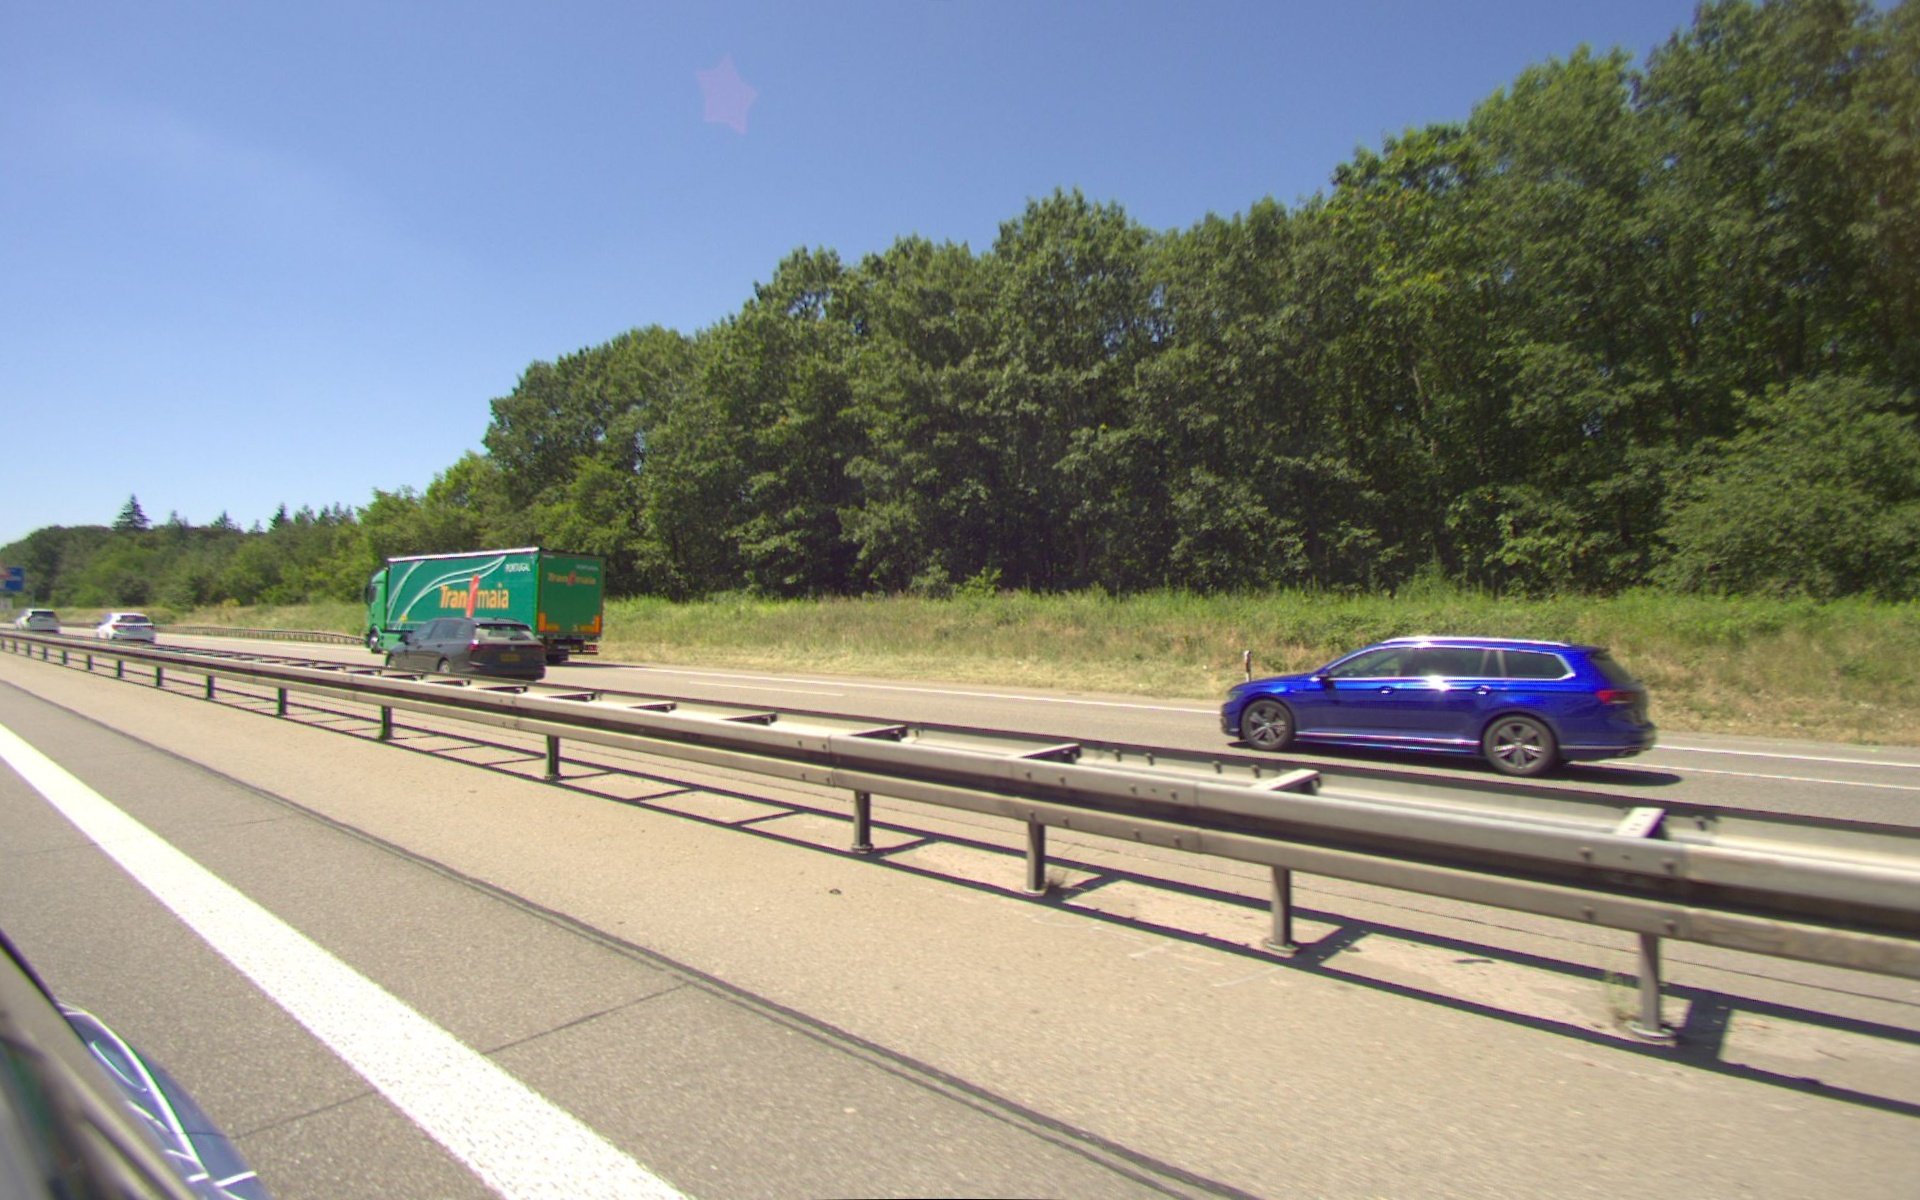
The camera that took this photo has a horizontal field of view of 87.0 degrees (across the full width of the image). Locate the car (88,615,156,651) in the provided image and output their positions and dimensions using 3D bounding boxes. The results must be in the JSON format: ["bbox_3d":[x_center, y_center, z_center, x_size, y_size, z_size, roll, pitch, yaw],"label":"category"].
[{"bbox_3d":[-37.985,1.476,45.831,4.598,1.512,1.638,-1,-4,42],"label":"car"}]

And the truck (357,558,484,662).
[{"bbox_3d":[-23.582,0.482,44.155,6.294,4.193,2.672,-1,-4,42],"label":"truck"}]

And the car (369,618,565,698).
[{"bbox_3d":[-10.047,1.118,20.426,5.081,1.421,1.691,-1,-4,42],"label":"car"}]

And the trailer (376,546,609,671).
[{"bbox_3d":[-18.875,0.423,39.945,14.332,4.193,2.676,-1,-4,42],"label":"trailer"}]

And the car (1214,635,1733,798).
[{"bbox_3d":[5.693,1.181,11.768,5.134,1.454,1.656,-1,-3,42],"label":"car"}]

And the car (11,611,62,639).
[{"bbox_3d":[-63.431,1.729,69.451,5.560,1.806,1.933,-1,-4,42],"label":"car"}]
